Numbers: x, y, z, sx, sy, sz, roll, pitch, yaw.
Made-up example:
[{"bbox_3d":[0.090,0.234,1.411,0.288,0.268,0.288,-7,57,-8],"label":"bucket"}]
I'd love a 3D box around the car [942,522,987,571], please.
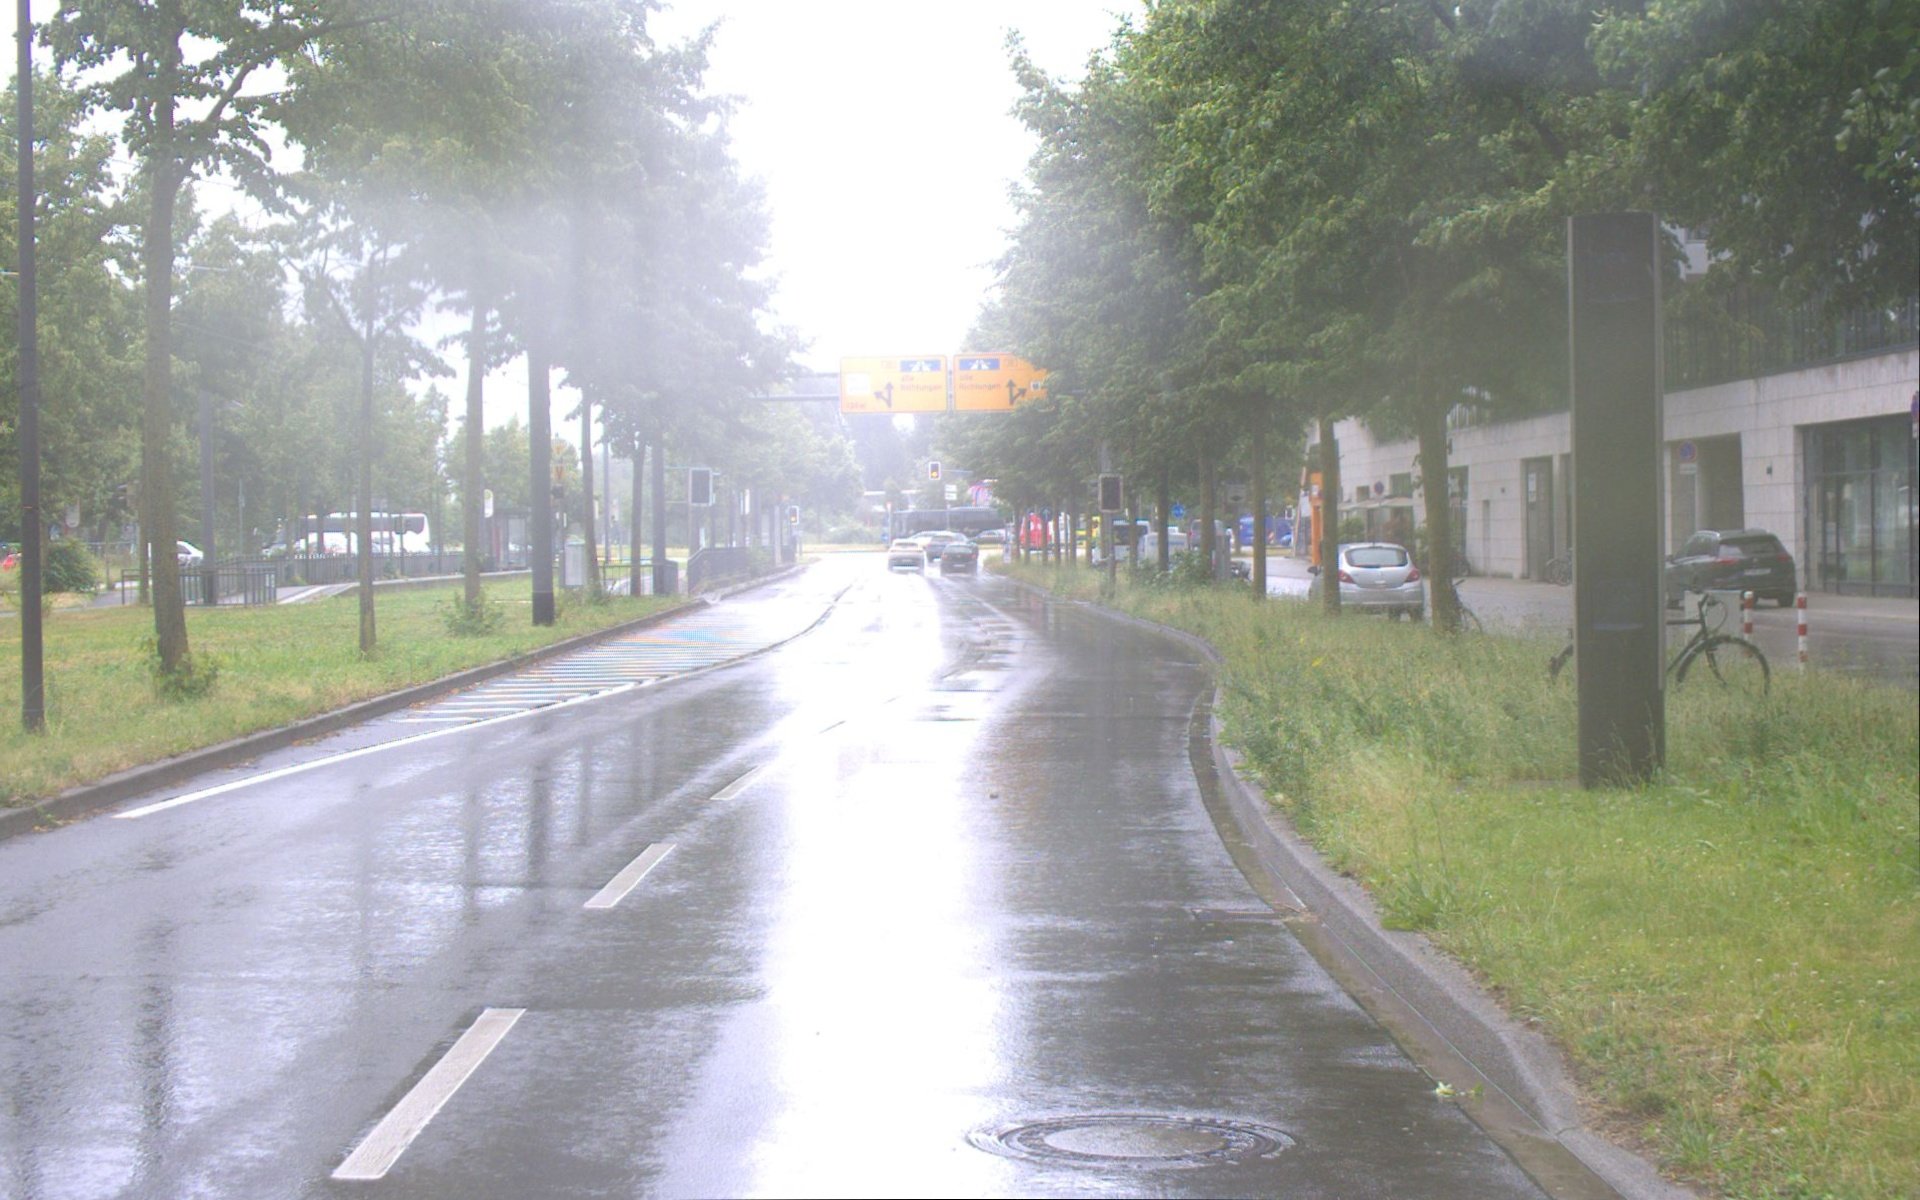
[{"bbox_3d":[0.178,-2.419,154.452,1.940,2.006,4.001,-1,3,-1],"label":"car"}]

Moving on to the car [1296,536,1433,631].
[{"bbox_3d":[7.413,-0.339,63.400,1.881,1.500,4.725,-1,3,-1],"label":"car"}]

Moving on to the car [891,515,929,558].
[{"bbox_3d":[-2.545,-3.254,174.719,1.888,2.006,4.001,-1,3,-1],"label":"car"}]

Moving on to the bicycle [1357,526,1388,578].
[{"bbox_3d":[14.776,-1.734,123.174,0.644,1.716,3.121,-1,3,-1],"label":"bicycle"}]

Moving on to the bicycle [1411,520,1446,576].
[{"bbox_3d":[15.423,-1.715,113.187,0.644,1.716,3.121,-1,3,-1],"label":"bicycle"}]

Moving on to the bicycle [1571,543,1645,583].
[{"bbox_3d":[16.629,-0.952,88.258,1.806,1.025,0.401,0,0,2],"label":"bicycle"}]

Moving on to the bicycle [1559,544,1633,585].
[{"bbox_3d":[16.453,-0.916,88.931,1.806,1.025,0.541,0,1,2],"label":"bicycle"}]

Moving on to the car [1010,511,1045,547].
[{"bbox_3d":[4.060,-4.270,206.763,1.993,2.006,4.001,-1,3,0],"label":"car"}]

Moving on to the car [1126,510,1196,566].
[{"bbox_3d":[6.559,-2.035,112.523,1.906,1.785,4.688,-1,1,-1],"label":"car"}]

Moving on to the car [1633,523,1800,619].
[{"bbox_3d":[14.175,-0.578,64.672,1.994,1.496,5.034,-5,2,1],"label":"car"}]

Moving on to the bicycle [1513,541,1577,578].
[{"bbox_3d":[16.252,-1.132,95.505,1.694,1.025,0.423,0,1,2],"label":"bicycle"}]

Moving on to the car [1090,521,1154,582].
[{"bbox_3d":[6.165,-1.873,131.059,2.121,2.266,4.565,-1,1,-1],"label":"car"}]

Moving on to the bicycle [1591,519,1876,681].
[{"bbox_3d":[5.834,-0.003,25.961,2.035,1.192,0.491,-1,0,-1],"label":"bicycle"}]

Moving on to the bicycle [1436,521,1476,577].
[{"bbox_3d":[16.222,-1.688,112.582,0.772,1.716,3.121,-1,3,-1],"label":"bicycle"}]
